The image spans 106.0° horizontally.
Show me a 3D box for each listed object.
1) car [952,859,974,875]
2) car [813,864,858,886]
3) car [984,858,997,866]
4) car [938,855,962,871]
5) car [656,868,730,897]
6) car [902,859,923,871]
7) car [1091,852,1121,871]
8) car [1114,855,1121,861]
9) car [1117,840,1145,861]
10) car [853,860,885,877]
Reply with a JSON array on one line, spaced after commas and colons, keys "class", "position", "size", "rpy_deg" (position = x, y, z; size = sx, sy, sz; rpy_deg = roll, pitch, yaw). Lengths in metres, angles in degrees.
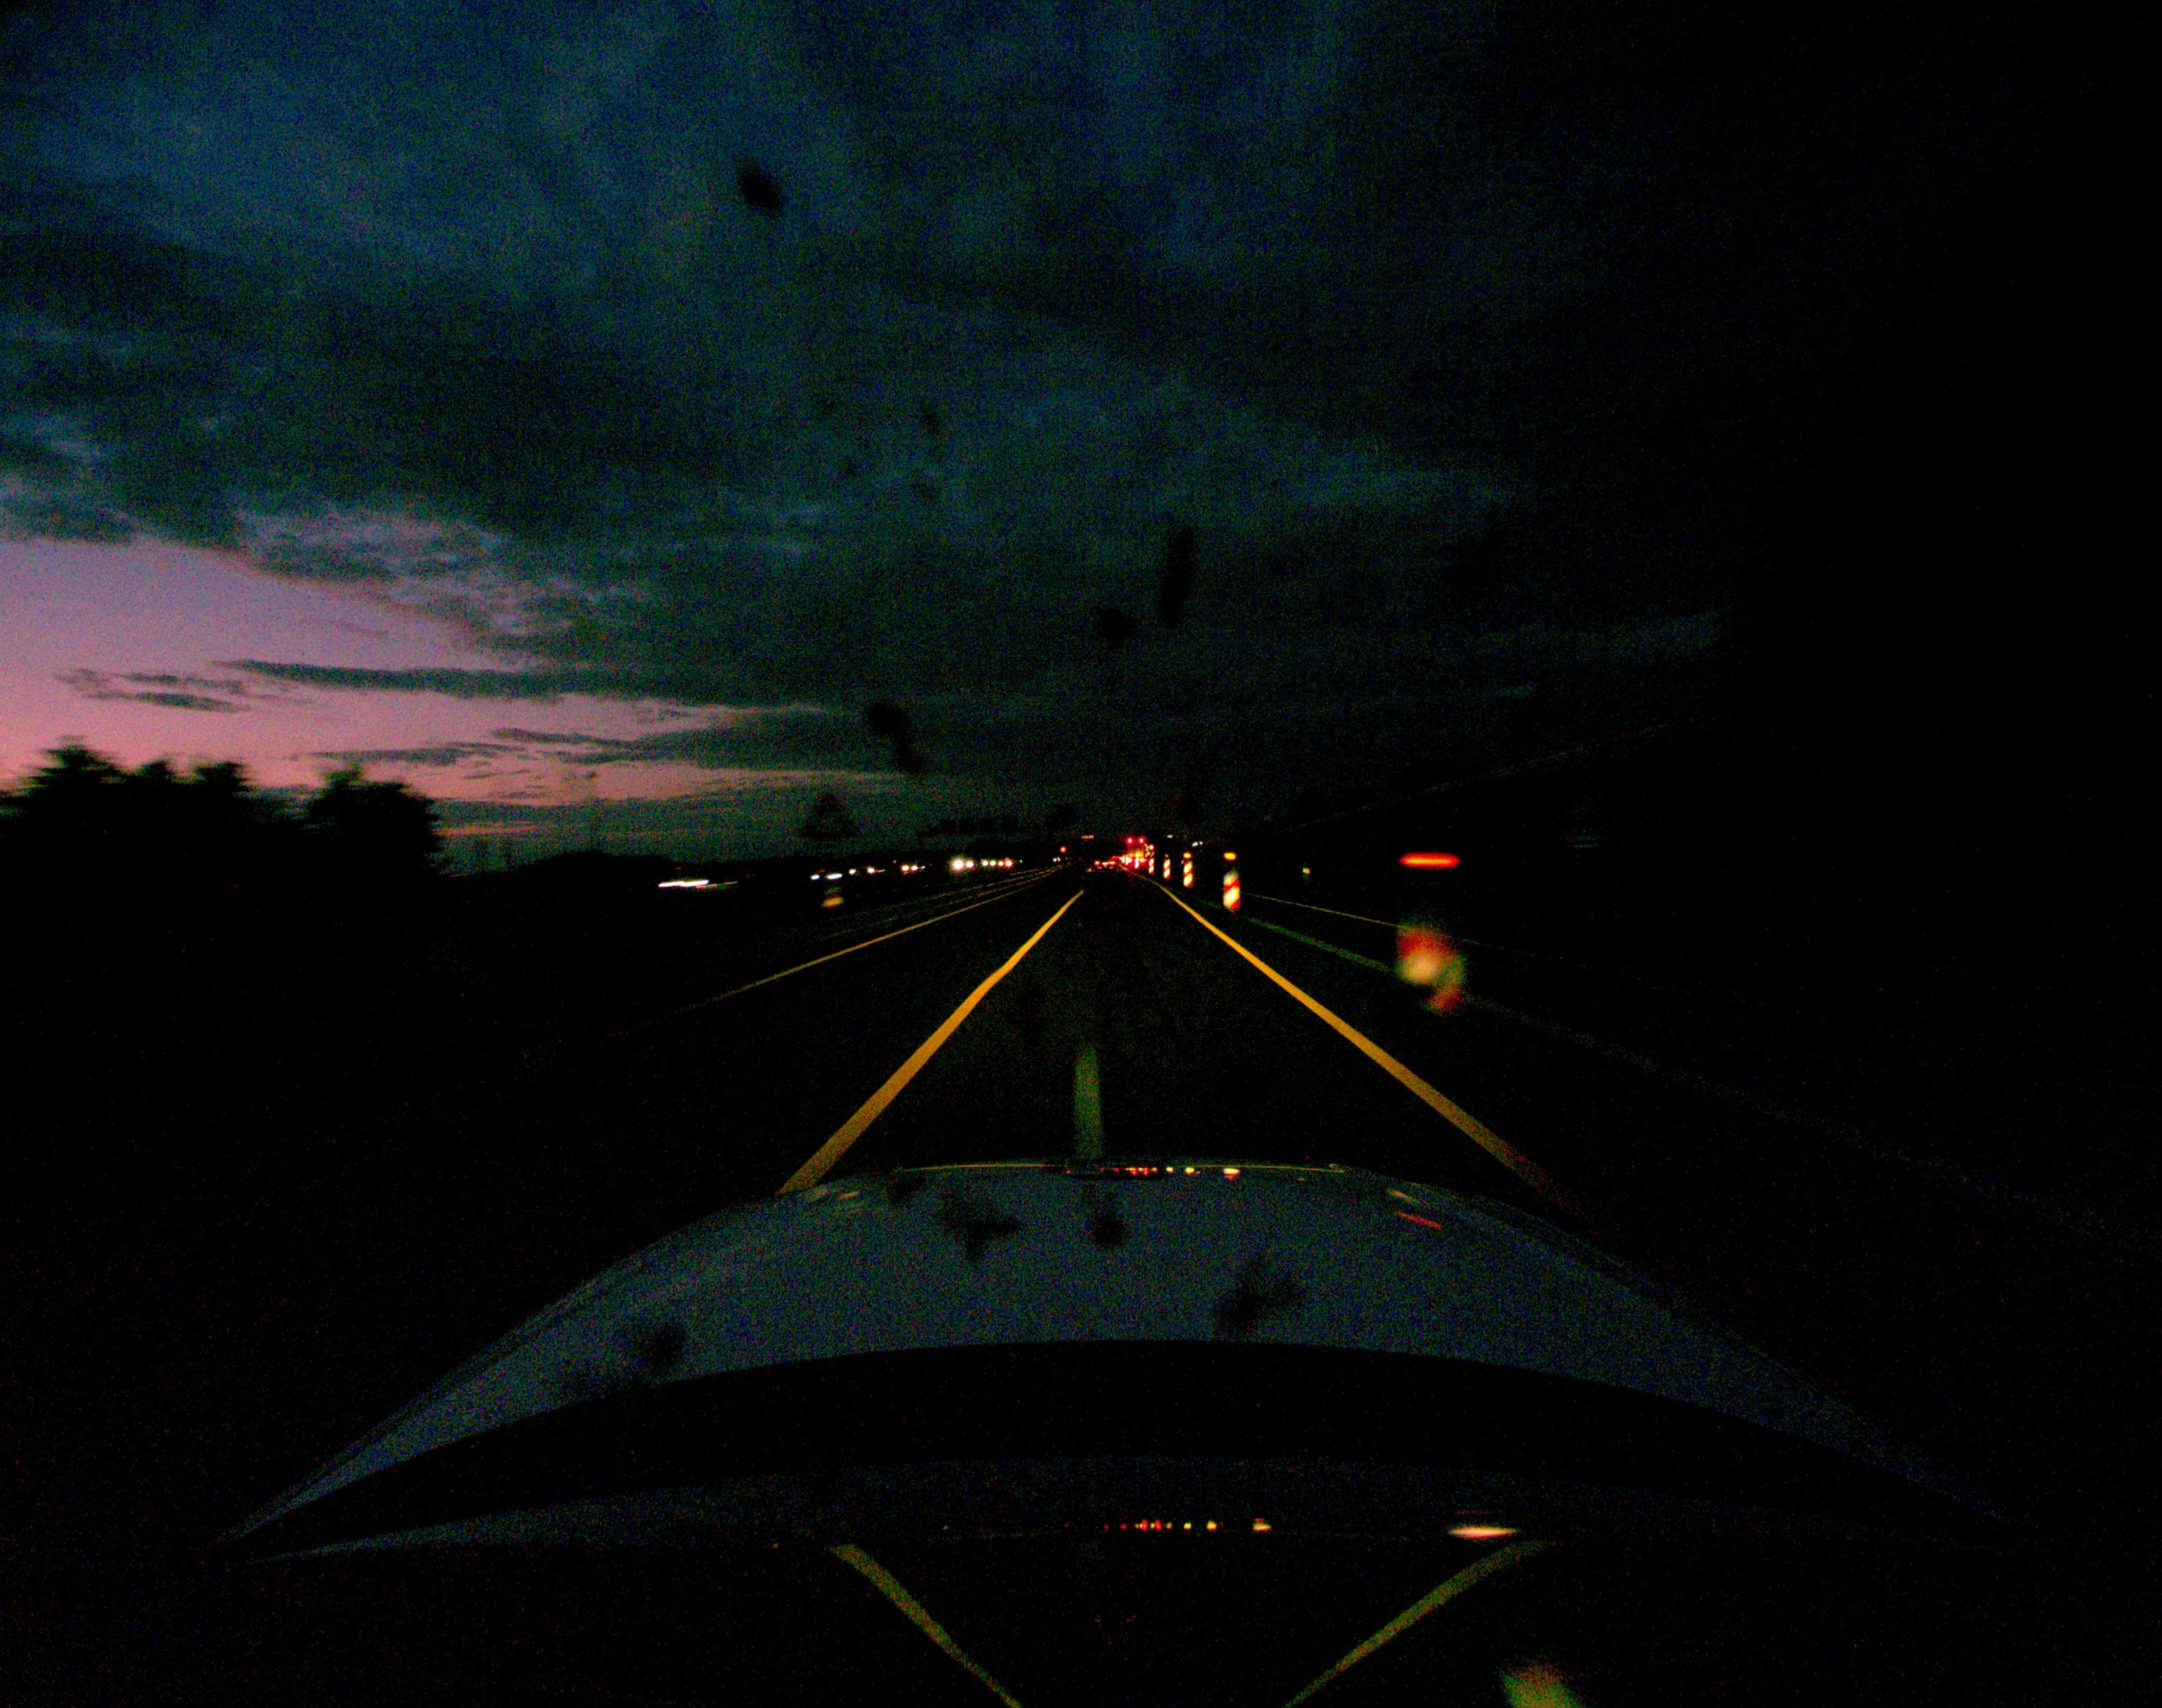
[{"class": "car", "position": [-14.379, 1.588, 99.688], "size": [1.986, 1.828, 4.001], "rpy_deg": [0, 0, 1]}, {"class": "car", "position": [-18.183, 1.531, 60.456], "size": [1.757, 1.464, 4.692], "rpy_deg": [0, 0, 2]}, {"class": "car", "position": [-16.187, 1.484, 145.835], "size": [1.570, 1.430, 4.426], "rpy_deg": [0, 0, 2]}, {"class": "car", "position": [-14.861, 1.006, 92.786], "size": [1.986, 1.714, 4.001], "rpy_deg": [0, 0, 1]}, {"class": "car", "position": [-21.379, 1.542, 45.070], "size": [1.986, 1.464, 4.135], "rpy_deg": [0, 0, 1]}, {"class": "car", "position": [-22.246, 1.420, 107.638], "size": [1.757, 1.548, 4.426], "rpy_deg": [0, 0, 2]}, {"class": "car", "position": [2.146, 0.666, 71.448], "size": [2.260, 1.621, 3.995], "rpy_deg": [0, 0, -3]}, {"class": "car", "position": [11.327, 1.185, 250.357], "size": [1.986, 2.014, 4.001], "rpy_deg": [0, 0, 1]}, {"class": "car", "position": [8.482, -0.581, 139.821], "size": [3.599, 3.395, 7.999], "rpy_deg": [0, 0, -5]}, {"class": "car", "position": [-20.397, 1.362, 78.495], "size": [1.757, 1.548, 4.426], "rpy_deg": [0, 0, 2]}]
